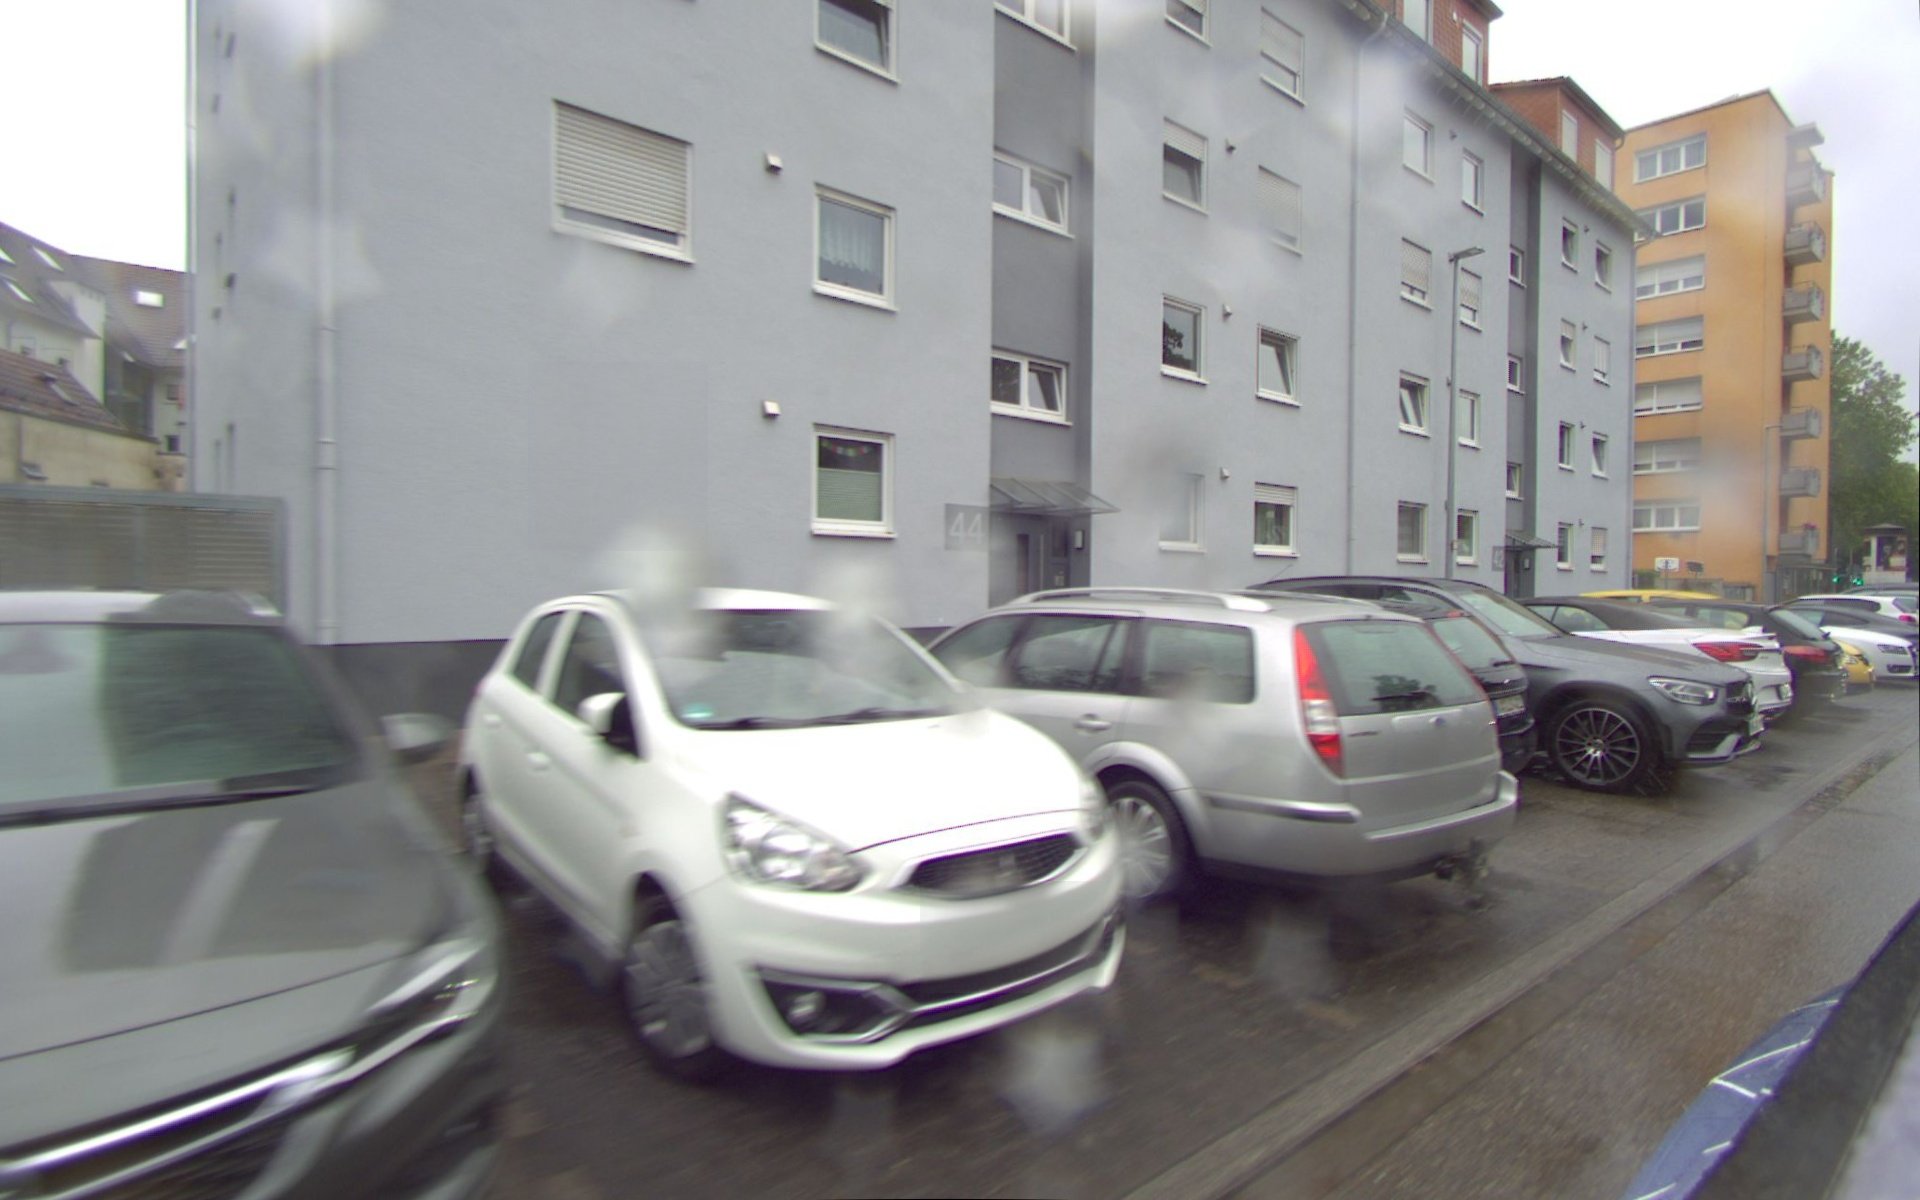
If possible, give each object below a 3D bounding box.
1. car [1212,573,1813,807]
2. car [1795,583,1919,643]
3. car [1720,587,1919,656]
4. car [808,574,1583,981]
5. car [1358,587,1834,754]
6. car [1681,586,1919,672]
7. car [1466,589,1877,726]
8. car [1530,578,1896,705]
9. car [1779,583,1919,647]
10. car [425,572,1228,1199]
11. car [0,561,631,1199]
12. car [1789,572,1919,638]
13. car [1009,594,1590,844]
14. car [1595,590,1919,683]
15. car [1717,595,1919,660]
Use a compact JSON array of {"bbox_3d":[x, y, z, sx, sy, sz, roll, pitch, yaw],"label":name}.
[{"bbox_3d":[4.685,0.577,9.115,2.005,1.571,4.348,-1,1,-41],"label":"car"},{"bbox_3d":[26.035,0.335,28.079,1.857,1.588,4.195,-1,2,-42],"label":"car"},{"bbox_3d":[20.167,0.440,23.441,1.805,1.472,3.859,0,1,-42],"label":"car"},{"bbox_3d":[0.940,0.634,5.993,1.946,1.473,4.283,1,0,-35],"label":"car"},{"bbox_3d":[6.874,0.610,11.302,1.964,1.476,4.107,0,1,-39],"label":"car"},{"bbox_3d":[16.718,0.488,19.602,1.977,1.504,4.151,-1,1,-41],"label":"car"},{"bbox_3d":[8.877,0.595,12.898,1.751,1.460,3.994,-1,1,-41],"label":"car"},{"bbox_3d":[10.745,0.495,14.660,1.821,1.571,3.992,-1,1,-42],"label":"car"},{"bbox_3d":[24.156,0.353,26.325,1.858,1.591,4.187,-1,1,-41],"label":"car"},{"bbox_3d":[-1.001,0.656,4.486,1.770,1.492,3.997,-1,1,-38],"label":"car"},{"bbox_3d":[-2.569,0.677,2.880,1.750,1.484,3.994,0,0,-40],"label":"car"},{"bbox_3d":[27.576,0.125,30.141,1.913,1.827,4.236,-1,2,-44],"label":"car"},{"bbox_3d":[2.401,0.675,7.948,1.813,1.429,3.994,0,0,-40],"label":"car"},{"bbox_3d":[14.441,0.547,18.311,1.964,1.454,4.638,-1,1,-39],"label":"car"},{"bbox_3d":[18.557,0.532,21.293,1.920,1.223,3.863,0,1,-38],"label":"car"}]
